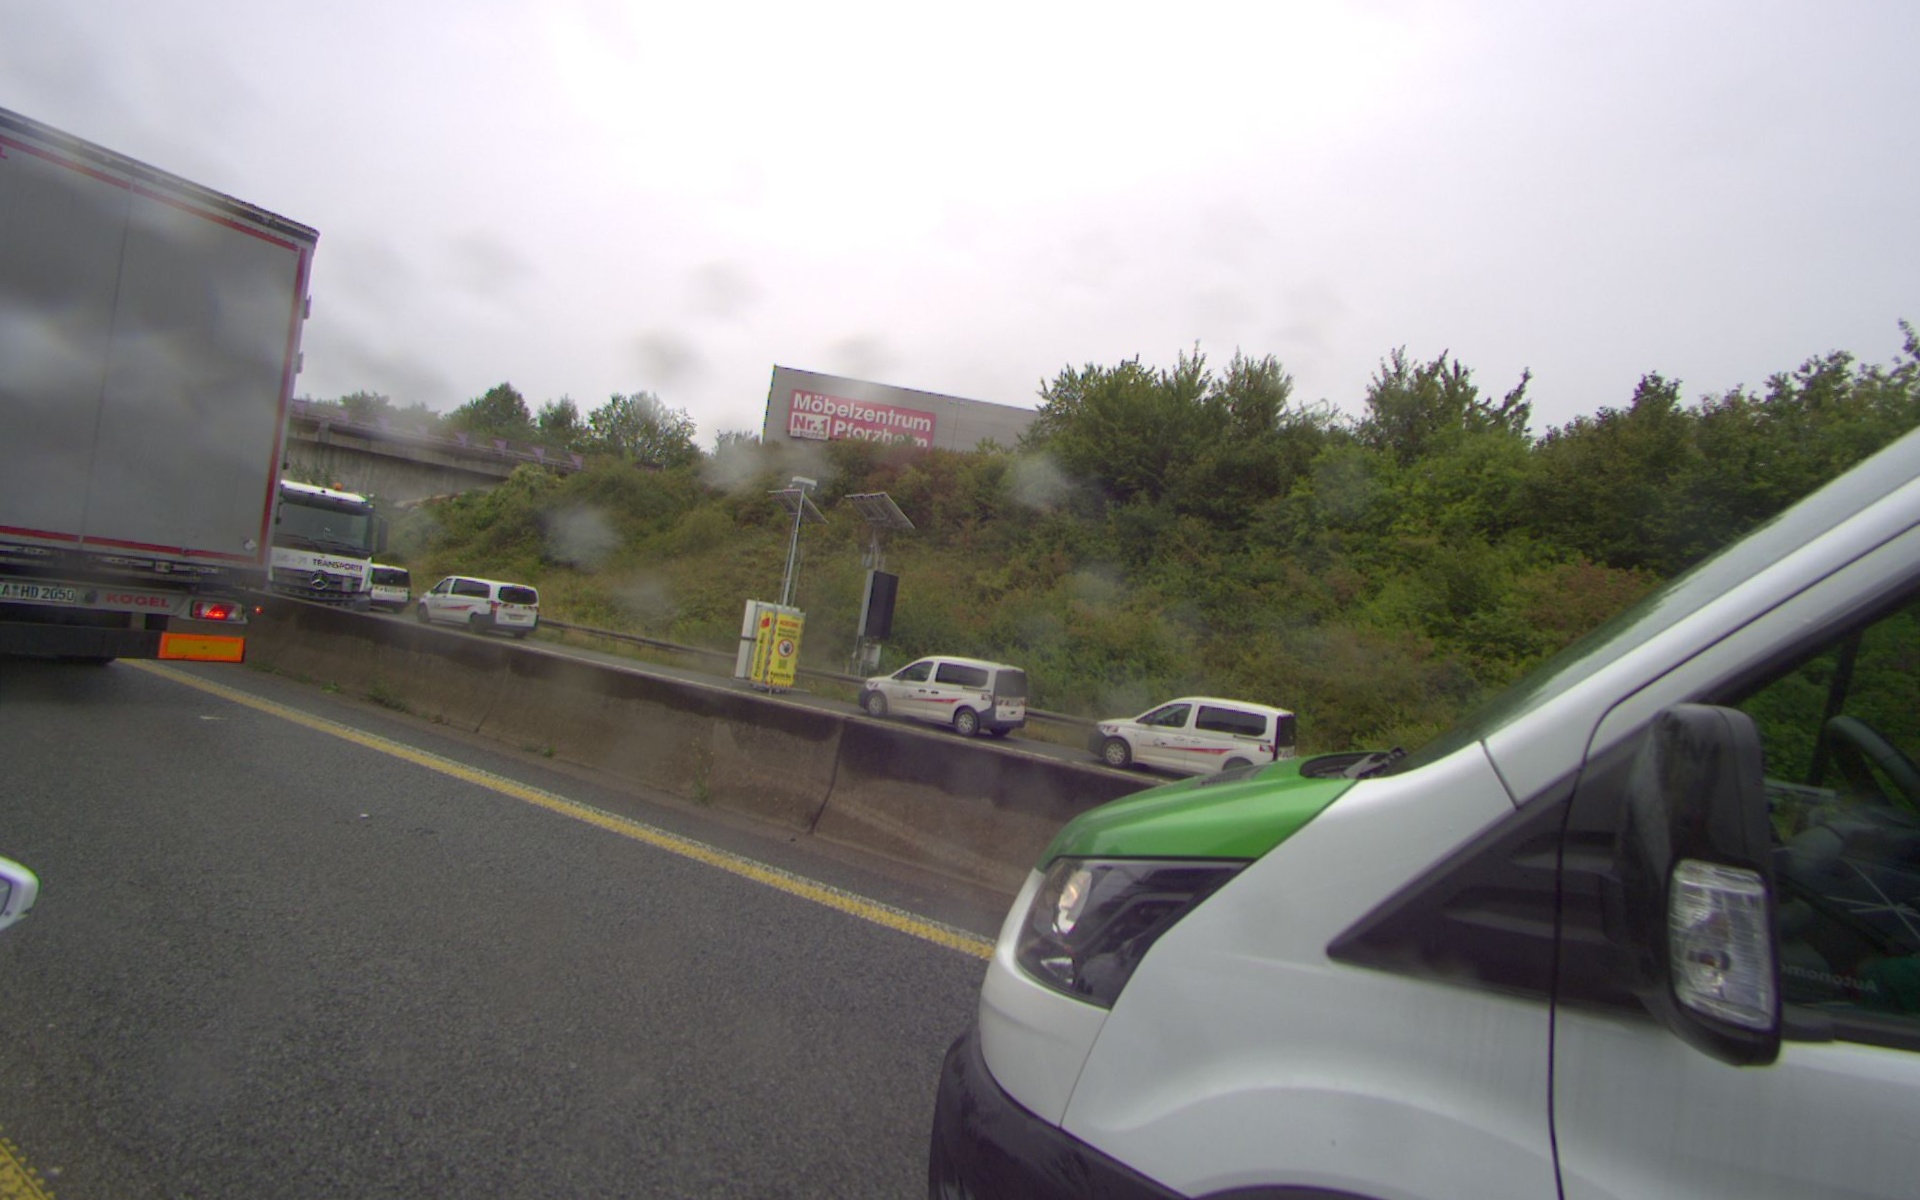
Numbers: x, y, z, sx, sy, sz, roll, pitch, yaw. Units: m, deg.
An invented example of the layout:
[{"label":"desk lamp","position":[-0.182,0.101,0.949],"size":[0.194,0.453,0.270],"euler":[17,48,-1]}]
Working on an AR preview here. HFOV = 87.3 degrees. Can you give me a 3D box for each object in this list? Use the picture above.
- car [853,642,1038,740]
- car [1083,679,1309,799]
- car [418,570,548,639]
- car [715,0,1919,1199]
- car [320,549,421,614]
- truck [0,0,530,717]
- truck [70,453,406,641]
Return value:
[{"label":"car","position":[-0.388,2.236,25.190],"size":[4.197,1.778,1.732],"euler":[7,-1,31]},{"label":"car","position":[5.049,2.922,21.709],"size":[4.257,1.790,1.732],"euler":[7,-1,31]},{"label":"car","position":[-16.998,0.136,35.789],"size":[4.652,1.850,1.945],"euler":[6,-2,35]},{"label":"car","position":[2.765,0.464,1.073],"size":[6.017,2.707,2.148],"euler":[7,-1,33]},{"label":"car","position":[-23.547,-0.735,40.137],"size":[4.058,2.082,1.731],"euler":[6,-1,35]},{"label":"truck","position":[-13.653,-2.945,12.778],"size":[20.042,5.740,3.986],"euler":[7,-1,33]},{"label":"truck","position":[-15.993,-1.279,21.985],"size":[8.968,3.168,2.525],"euler":[7,-1,32]}]
